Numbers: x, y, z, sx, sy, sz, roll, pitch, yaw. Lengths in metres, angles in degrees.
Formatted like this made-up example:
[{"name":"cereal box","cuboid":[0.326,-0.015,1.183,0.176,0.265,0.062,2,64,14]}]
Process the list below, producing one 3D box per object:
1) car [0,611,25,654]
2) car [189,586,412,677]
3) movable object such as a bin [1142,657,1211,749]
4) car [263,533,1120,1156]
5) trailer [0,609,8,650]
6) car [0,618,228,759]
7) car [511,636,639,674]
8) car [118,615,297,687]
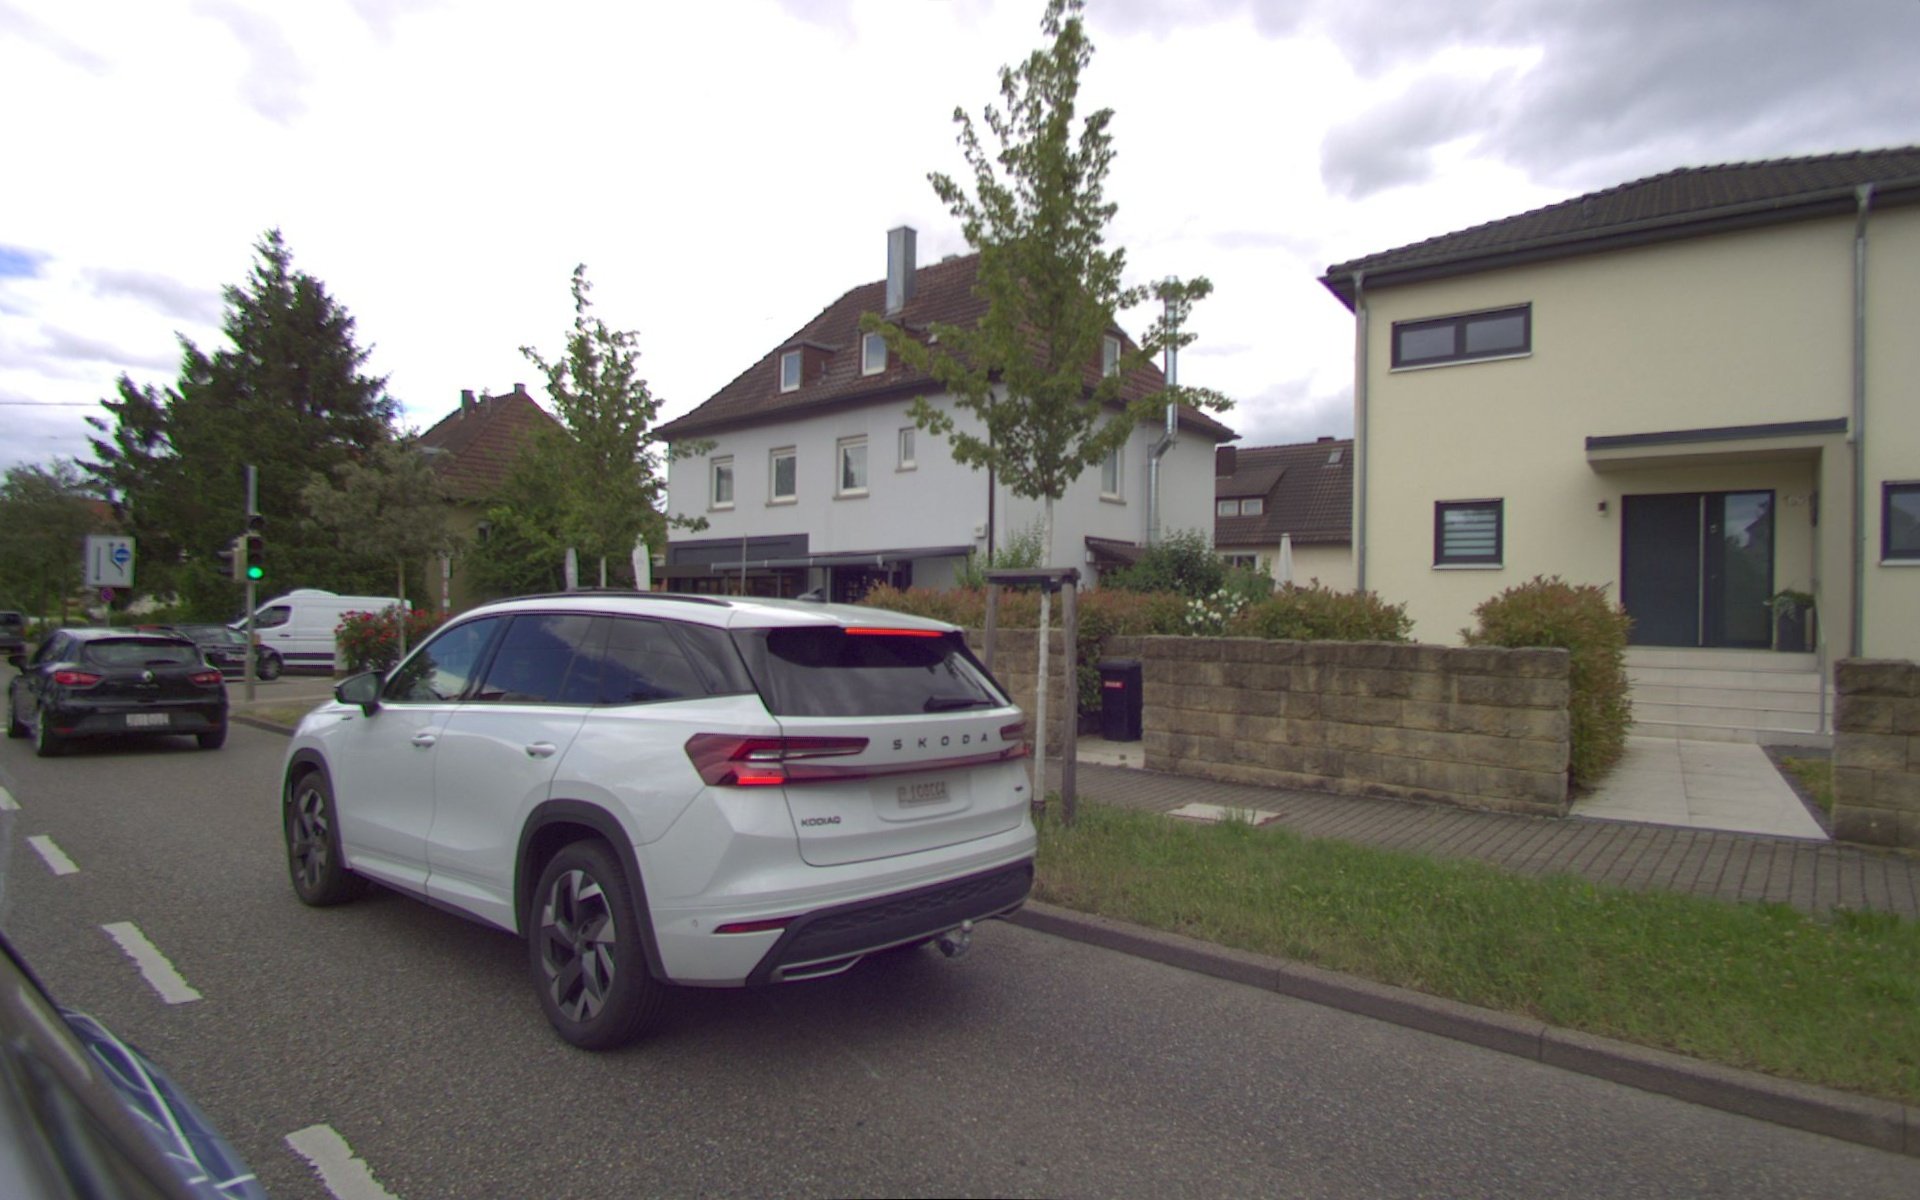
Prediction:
[{"name":"car","cuboid":[-45.978,1.536,47.951,4.896,1.964,1.972,-1,-2,41]},{"name":"car","cuboid":[-20.351,1.032,31.458,5.529,2.583,2.136,3,-3,-34]},{"name":"movable object such as a bin","cuboid":[2.387,1.113,11.143,0.524,0.929,0.607,-1,0,40]},{"name":"car","cuboid":[-1.616,0.729,4.934,4.462,1.706,1.795,-1,-3,40]},{"name":"trailer","cuboid":[-51.306,1.512,52.649,4.423,2.104,2.132,-1,-2,41]},{"name":"car","cuboid":[-10.624,0.993,12.582,3.999,1.483,1.599,-1,-3,42]},{"name":"car","cuboid":[-14.363,2.089,37.897,4.069,1.364,1.799,4,-5,-42]},{"name":"car","cuboid":[-18.606,1.207,25.324,1.966,1.633,4.660,0,-1,-15]}]
